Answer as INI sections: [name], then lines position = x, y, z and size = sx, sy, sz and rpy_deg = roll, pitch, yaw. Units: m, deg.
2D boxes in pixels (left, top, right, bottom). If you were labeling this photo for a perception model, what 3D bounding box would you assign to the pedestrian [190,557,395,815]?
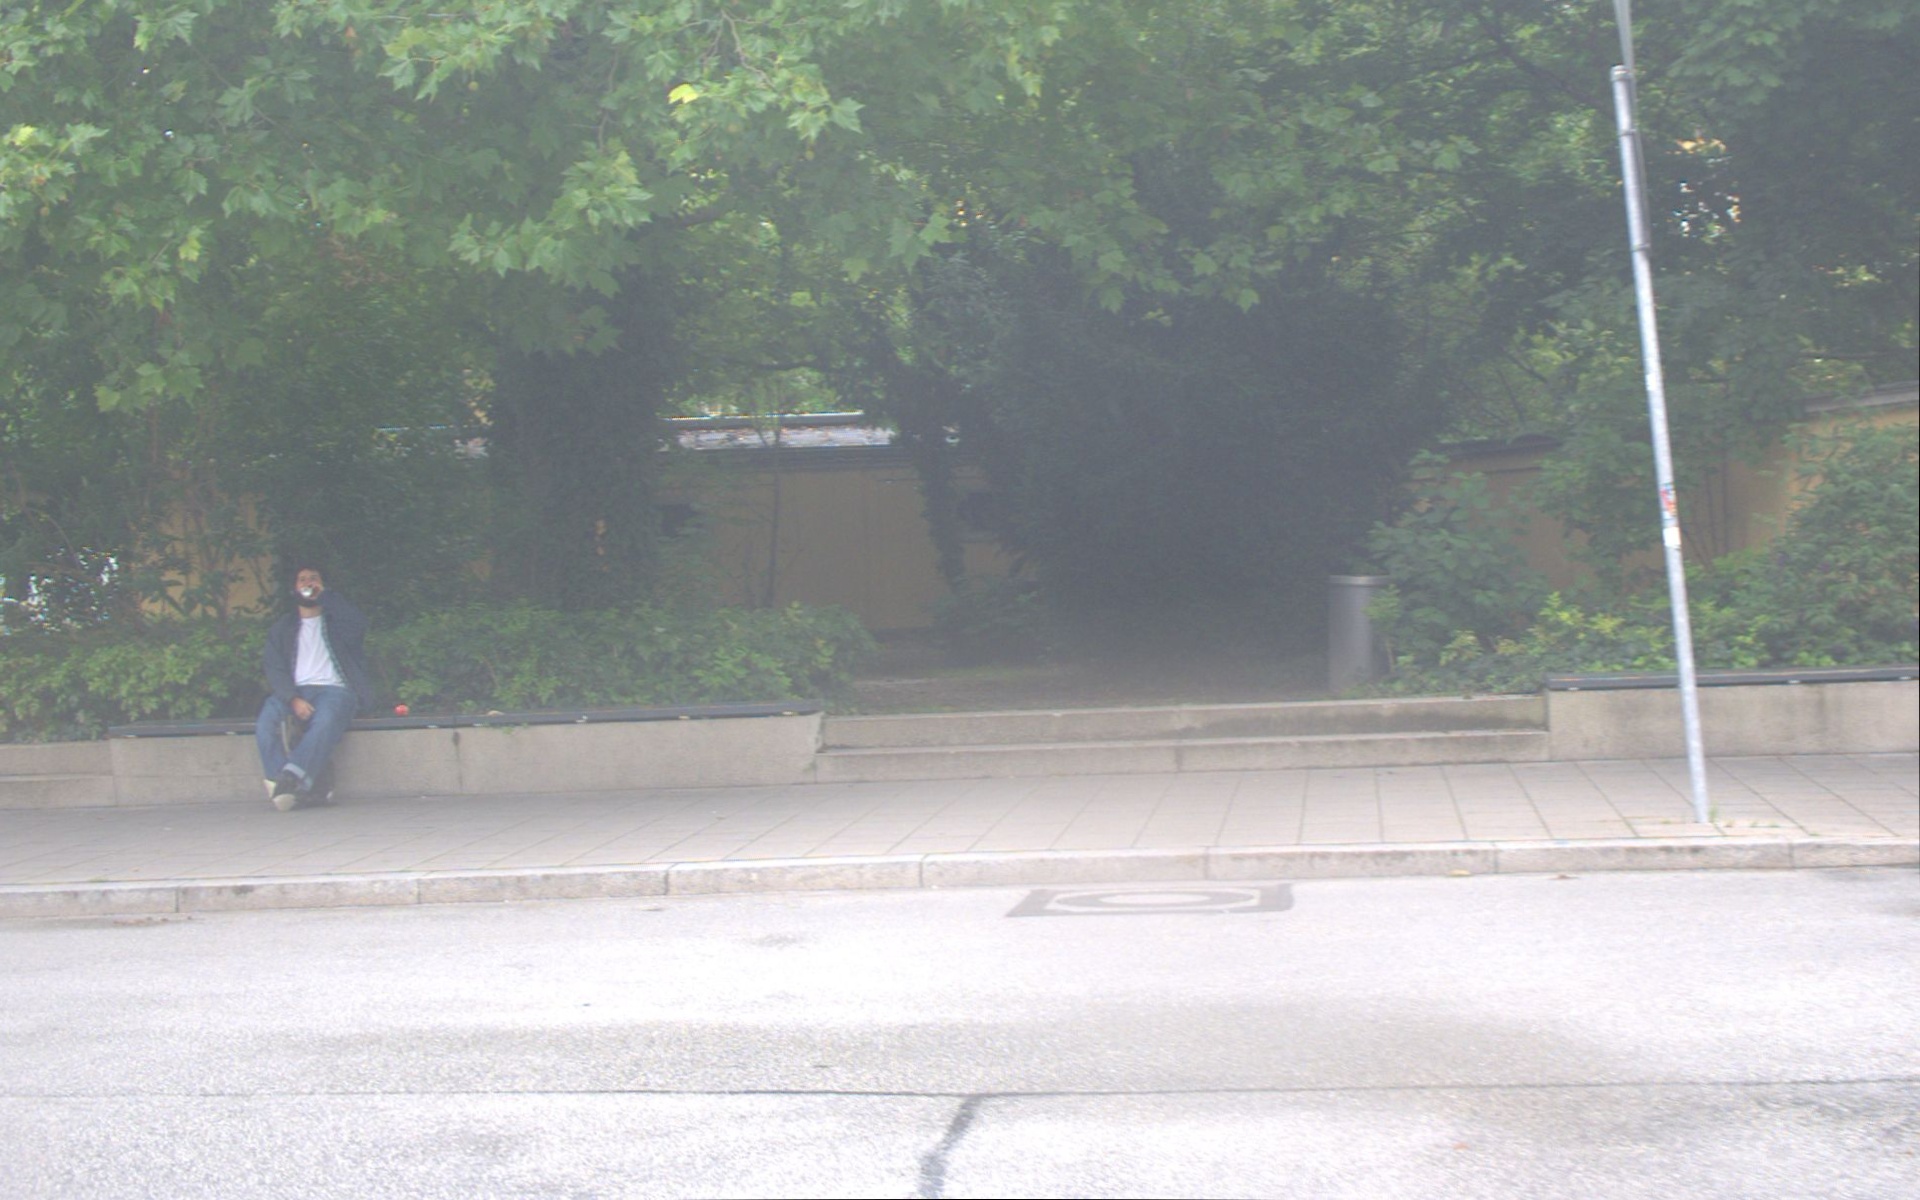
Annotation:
[pedestrian]
position = -3.665, 0.456, 18.967
size = 0.769, 1.352, 1.131
rpy_deg = -2, 1, 6
